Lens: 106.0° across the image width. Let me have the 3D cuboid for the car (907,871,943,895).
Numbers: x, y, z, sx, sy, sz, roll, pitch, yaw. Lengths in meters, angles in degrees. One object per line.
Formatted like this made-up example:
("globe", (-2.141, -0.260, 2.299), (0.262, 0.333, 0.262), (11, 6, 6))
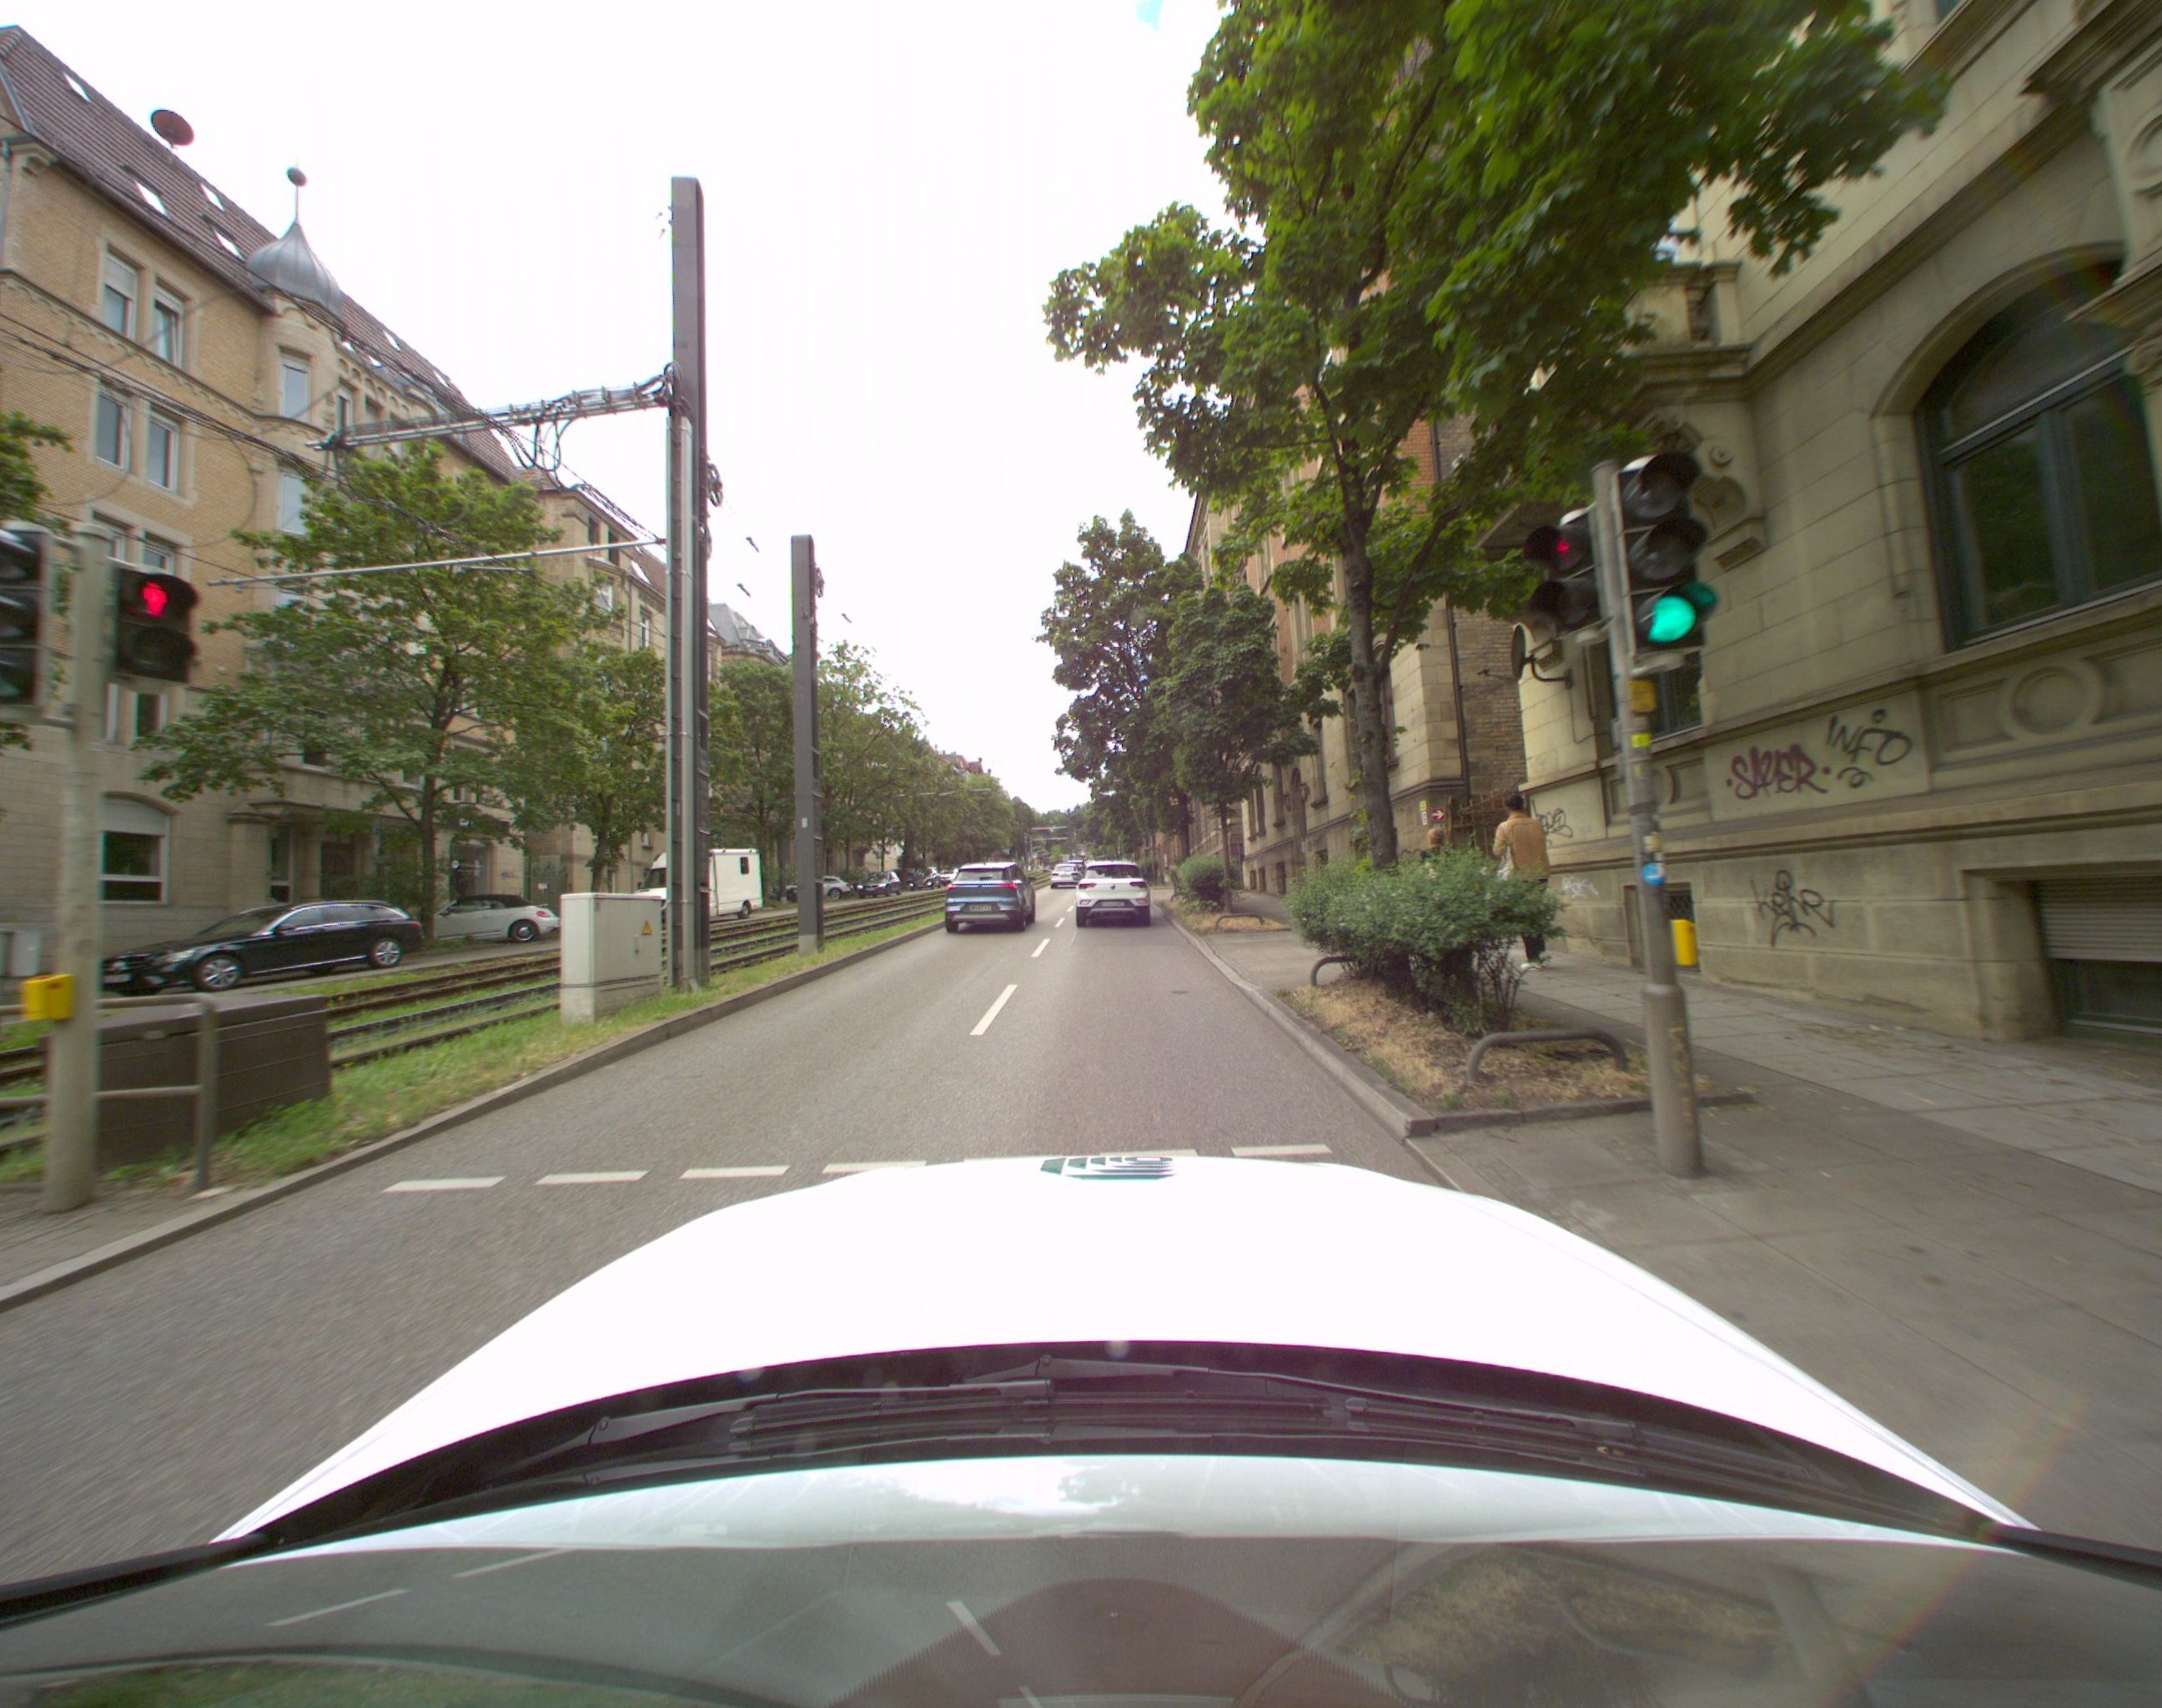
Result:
("car", (-12.344, 2.280, 64.533), (1.774, 1.657, 4.244), (-4, -1, 2))

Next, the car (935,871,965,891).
("car", (-12.154, 2.479, 75.764), (1.774, 1.616, 4.347), (-4, -1, 2))

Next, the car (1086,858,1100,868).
("car", (1.903, 1.394, 129.821), (2.061, 1.546, 4.193), (-1, -1, 0))

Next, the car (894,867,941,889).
("car", (-16.096, 2.348, 80.143), (4.199, 1.836, 1.856), (-3, -1, -26))

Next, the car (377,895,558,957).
("car", (-17.862, 2.044, 23.959), (4.012, 1.422, 1.769), (-2, -1, -30))

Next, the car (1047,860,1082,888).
("car", (-0.959, 1.203, 49.728), (1.828, 1.546, 4.195), (-1, -1, 2))

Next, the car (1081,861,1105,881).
("car", (1.024, 1.416, 68.386), (1.828, 1.546, 4.195), (-1, -1, 2))

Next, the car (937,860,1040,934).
("car", (-2.112, 0.964, 19.668), (1.828, 1.546, 4.195), (-1, -1, 2))

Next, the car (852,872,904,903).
("car", (-12.591, 2.037, 50.863), (1.873, 1.650, 4.472), (-5, -1, 2))

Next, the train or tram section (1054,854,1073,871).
("train or tram section", (-3.588, 1.811, 172.134), (2.984, 3.349, 13.447), (-3, -1, 3))

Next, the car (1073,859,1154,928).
("car", (0.779, 0.937, 20.724), (1.829, 1.546, 4.193), (-1, -1, 1))

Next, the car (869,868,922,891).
("car", (-16.277, 2.228, 71.513), (4.203, 1.767, 1.854), (-3, -1, -29))

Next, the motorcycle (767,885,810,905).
("motorcycle", (-16.729, 2.322, 46.540), (2.214, 1.058, 0.619), (-1, -2, -33))

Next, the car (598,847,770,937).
("car", (-13.959, 1.230, 29.308), (2.381, 2.699, 6.526), (-5, -1, 4))

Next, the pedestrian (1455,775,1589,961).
("pedestrian", (4.706, 0.166, 8.792), (0.683, 1.830, 1.121), (-4, -3, 1))

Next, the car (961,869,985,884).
("car", (-11.750, 2.404, 88.785), (1.718, 1.410, 4.599), (-4, -1, 2))

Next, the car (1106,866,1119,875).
("car", (5.332, 2.802, 138.471), (2.060, 1.546, 4.195), (-1, -1, 2))

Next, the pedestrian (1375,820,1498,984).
("pedestrian", (3.732, 0.478, 8.655), (0.683, 1.574, 1.217), (-4, -1, 1))

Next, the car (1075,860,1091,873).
("car", (0.254, 1.607, 106.100), (2.062, 1.546, 4.191), (-1, -1, -1))

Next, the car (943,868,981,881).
("car", (-15.792, 2.698, 107.892), (4.624, 1.617, 1.916), (-1, -1, -33))

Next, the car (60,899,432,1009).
("car", (-15.527, 1.779, 15.635), (1.738, 1.428, 4.761), (-4, -1, 10))

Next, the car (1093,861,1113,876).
("car", (2.427, 1.555, 89.724), (2.061, 1.546, 4.193), (-1, -1, 0))
